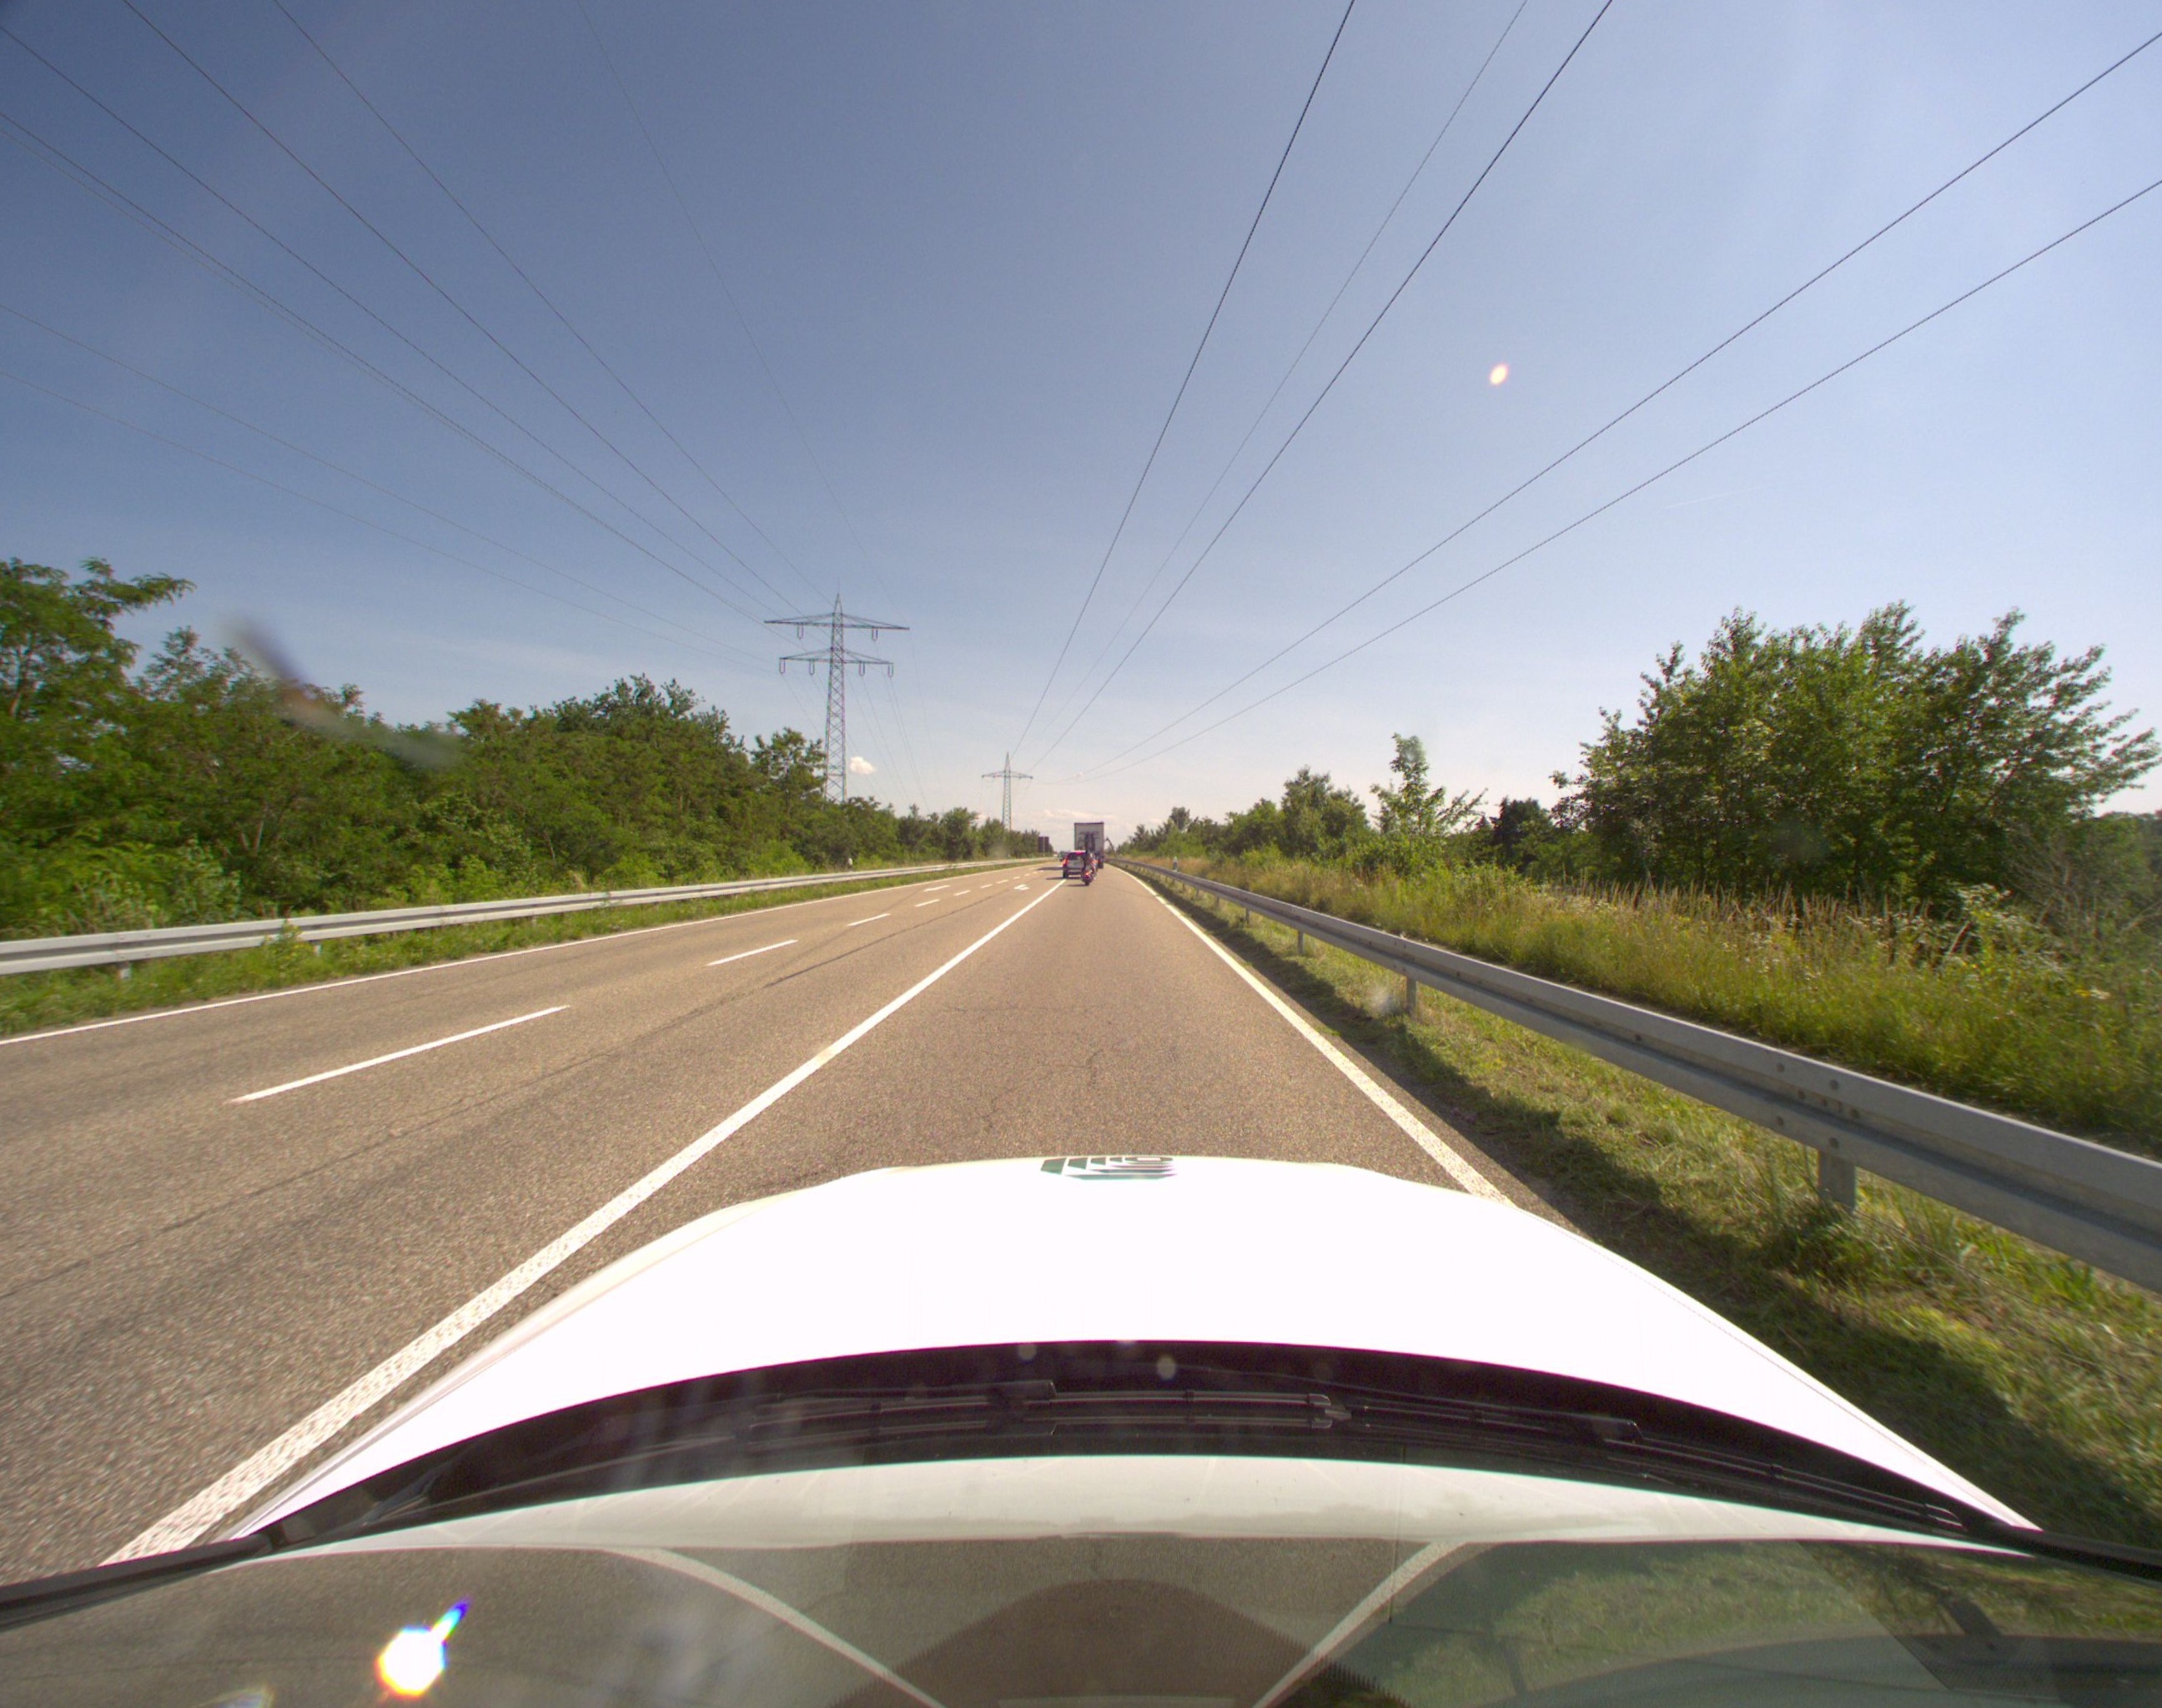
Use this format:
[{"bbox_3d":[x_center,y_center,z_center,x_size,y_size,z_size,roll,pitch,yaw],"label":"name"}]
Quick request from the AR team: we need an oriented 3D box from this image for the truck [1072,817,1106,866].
[{"bbox_3d":[0.889,-1.073,76.983,2.957,4.187,14.826,0,0,2],"label":"truck"}]

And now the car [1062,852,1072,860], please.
[{"bbox_3d":[-2.705,0.376,158.458,1.722,1.491,4.422,0,0,0],"label":"car"}]

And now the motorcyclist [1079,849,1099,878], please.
[{"bbox_3d":[0.338,0.426,36.030,0.835,1.280,0.919,0,0,-2],"label":"motorcyclist"}]

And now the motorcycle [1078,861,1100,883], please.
[{"bbox_3d":[0.336,0.787,35.972,0.856,0.915,2.226,0,0,-2],"label":"motorcycle"}]

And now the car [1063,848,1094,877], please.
[{"bbox_3d":[-0.119,0.446,45.714,1.695,1.536,3.499,0,0,0],"label":"car"}]
